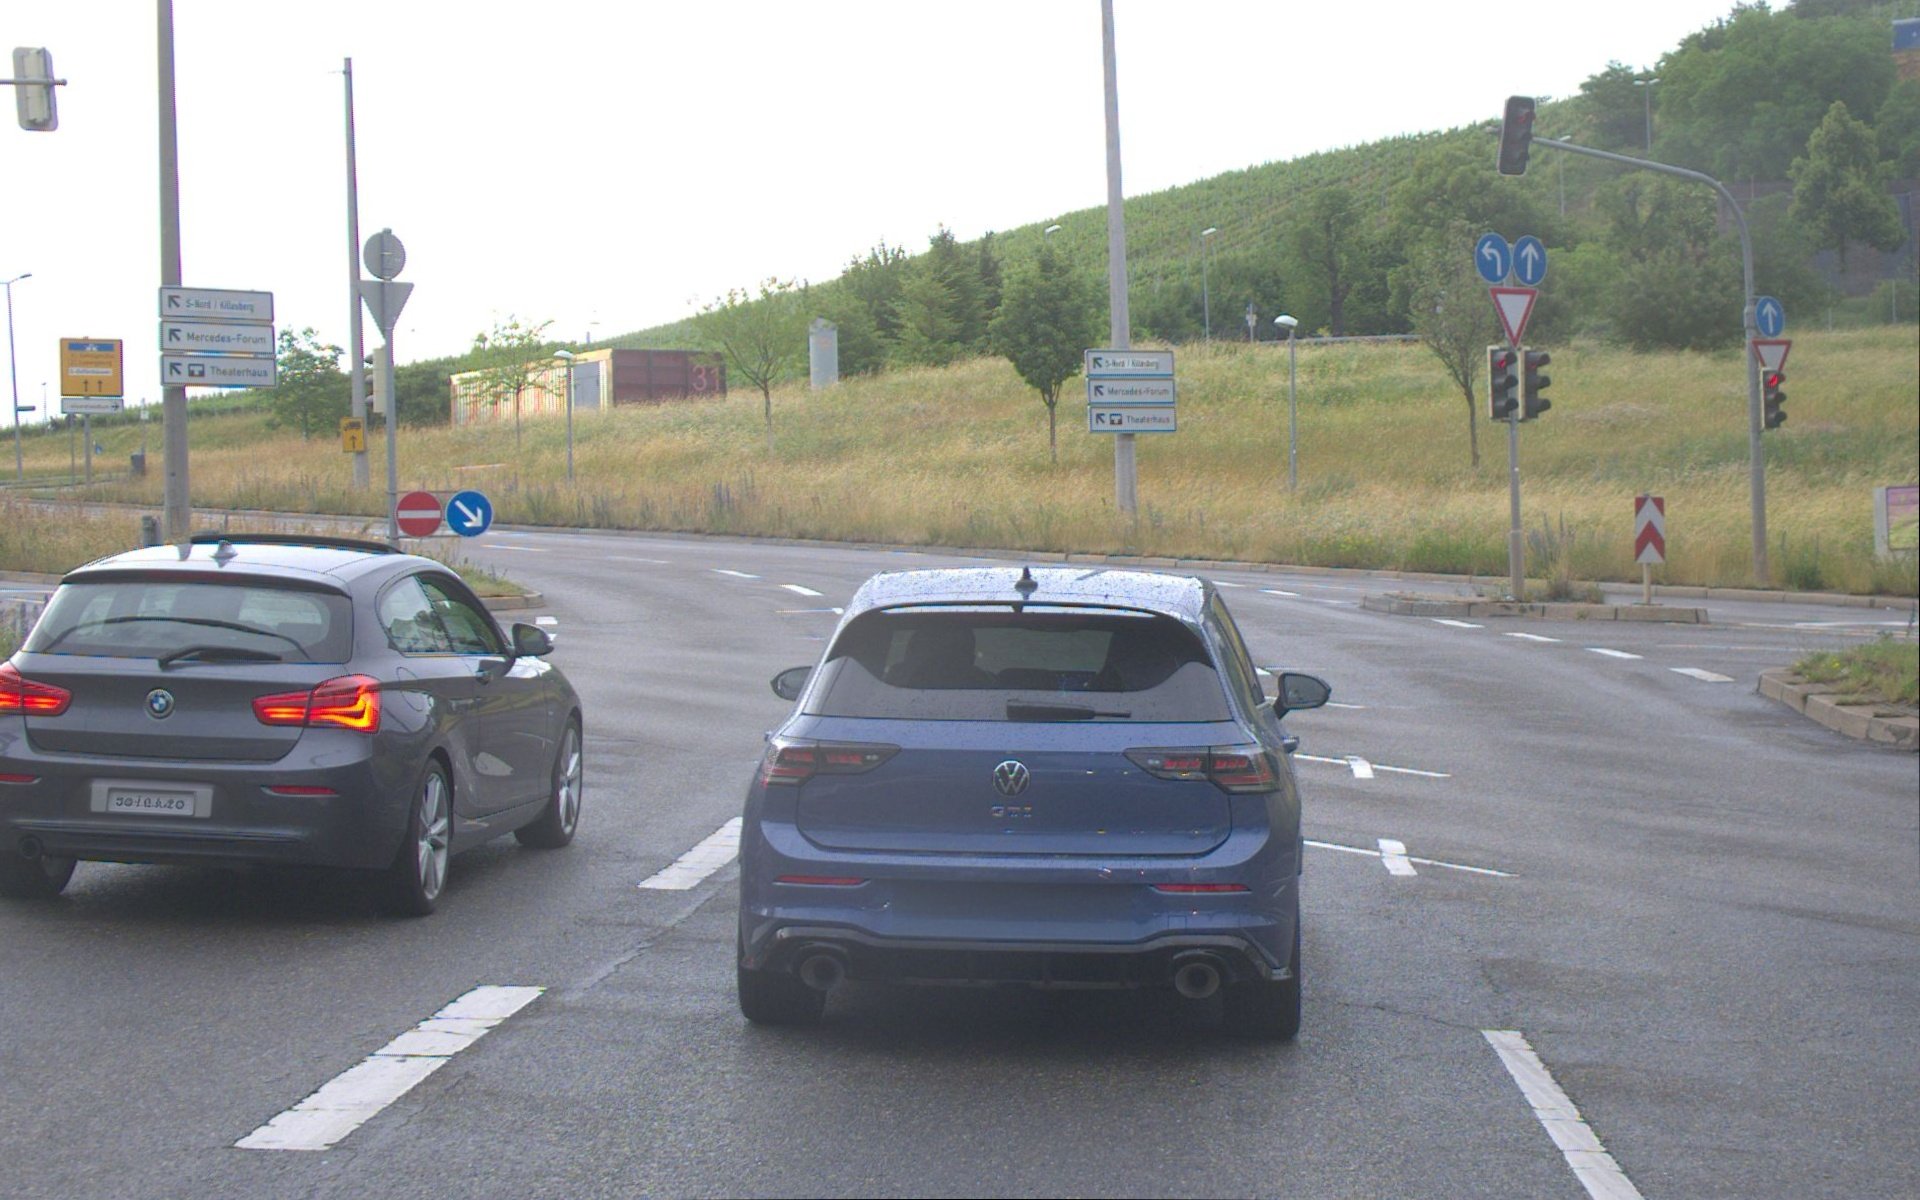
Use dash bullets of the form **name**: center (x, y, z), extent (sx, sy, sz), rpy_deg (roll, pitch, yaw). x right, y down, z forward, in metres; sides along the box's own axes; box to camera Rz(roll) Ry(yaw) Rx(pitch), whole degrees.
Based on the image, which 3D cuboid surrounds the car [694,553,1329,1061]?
- **car**: center (0.238, 0.574, 11.796), extent (1.825, 1.455, 3.808), rpy_deg (0, 1, 3)

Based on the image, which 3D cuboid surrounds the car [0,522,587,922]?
- **car**: center (-2.778, 0.416, 14.676), extent (1.703, 1.454, 4.114), rpy_deg (-1, 1, 3)
